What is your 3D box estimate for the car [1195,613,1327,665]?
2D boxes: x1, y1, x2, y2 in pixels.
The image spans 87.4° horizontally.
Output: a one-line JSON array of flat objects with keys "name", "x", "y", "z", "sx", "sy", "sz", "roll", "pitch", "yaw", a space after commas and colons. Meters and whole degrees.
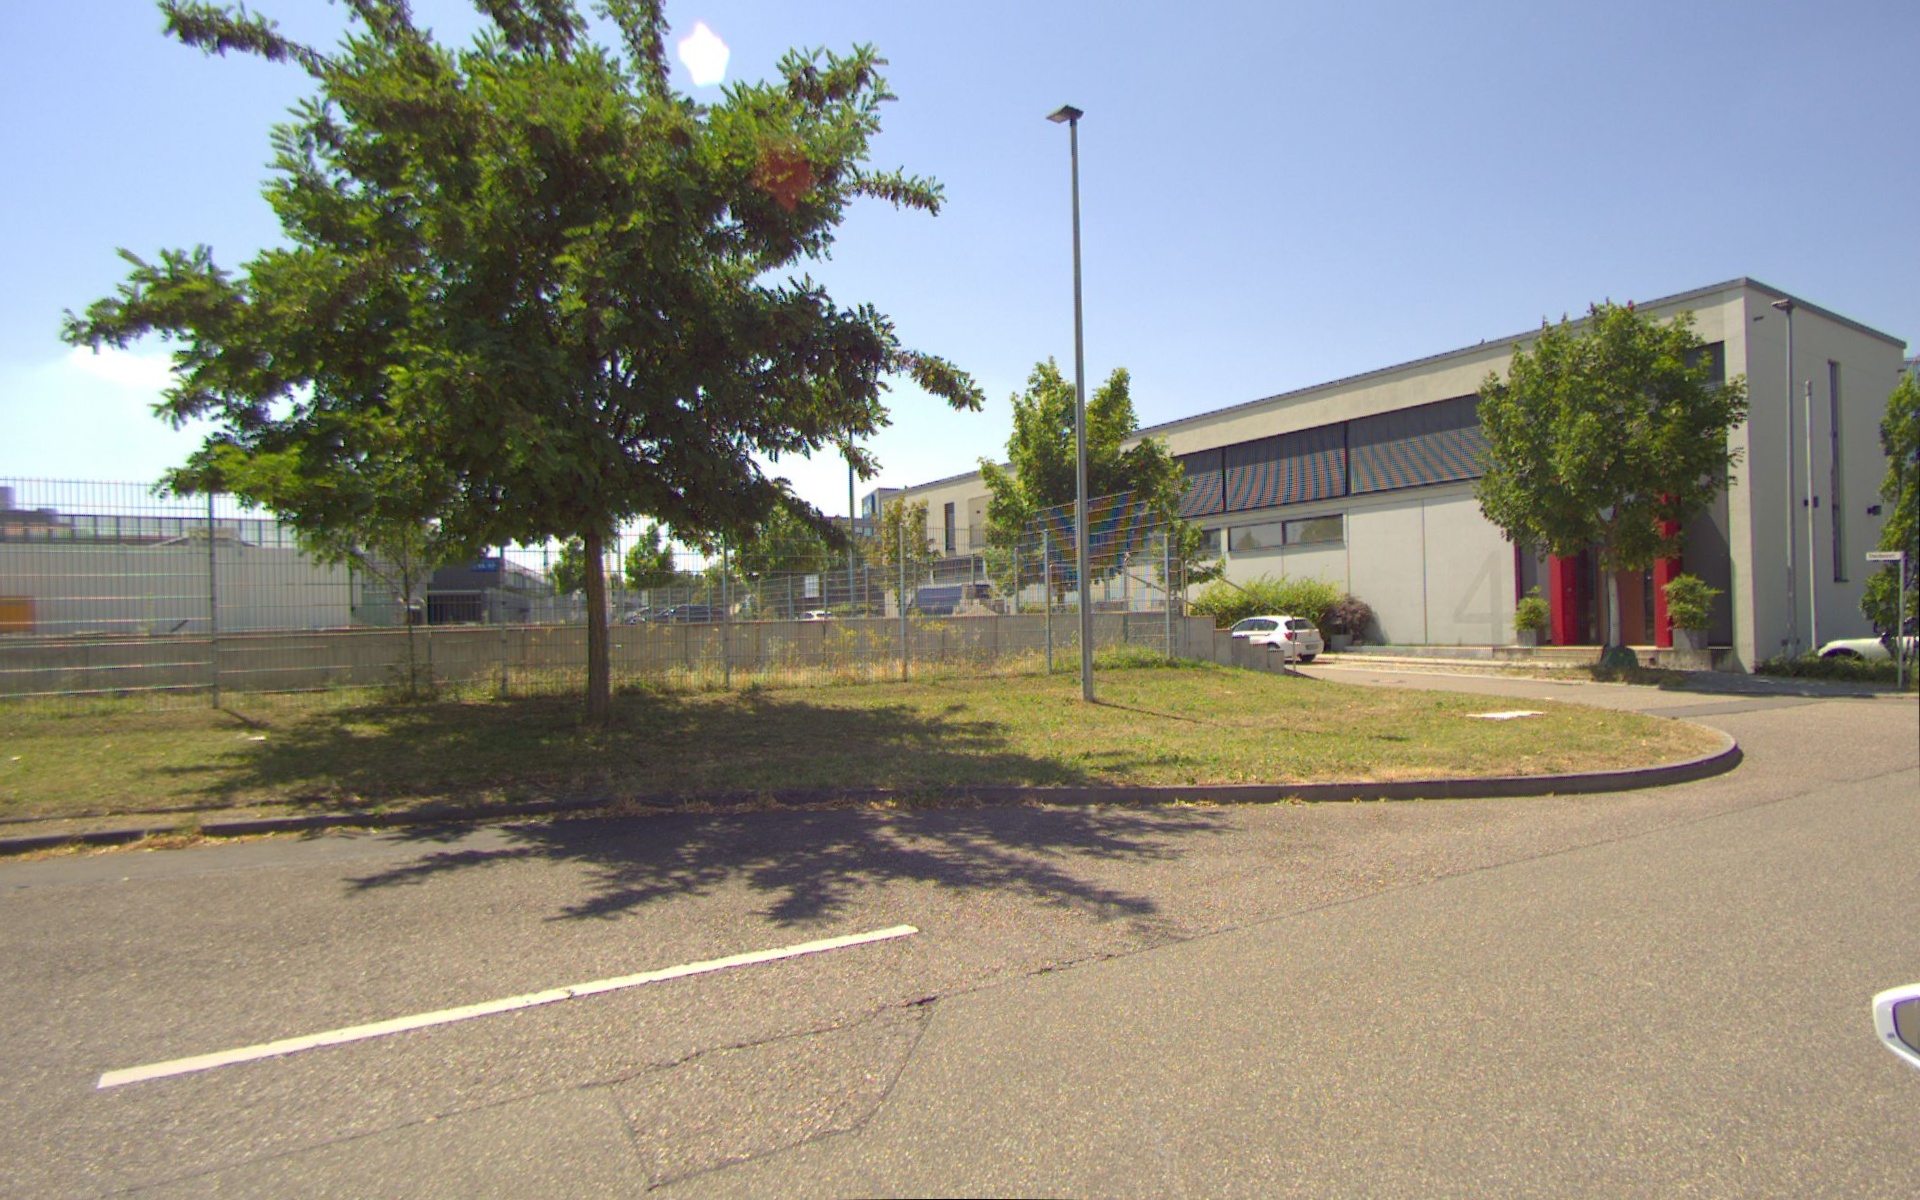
[{"name": "car", "x": 9.524, "y": 1.195, "z": 32.047, "sx": 1.638, "sy": 1.427, "sz": 3.980, "roll": -3, "pitch": 1, "yaw": -31}]

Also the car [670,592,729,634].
[{"name": "car", "x": -13.378, "y": 0.656, "z": 51.375, "sx": 1.951, "sy": 2.040, "sz": 3.968, "roll": 1, "pitch": -1, "yaw": -30}]

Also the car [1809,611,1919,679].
[{"name": "car", "x": 22.291, "y": 1.044, "z": 23.042, "sx": 1.711, "sy": 1.514, "sz": 4.020, "roll": 1, "pitch": -1, "yaw": -35}]

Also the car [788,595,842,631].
[{"name": "car", "x": -8.937, "y": 0.778, "z": 61.776, "sx": 1.948, "sy": 2.041, "sz": 3.968, "roll": -3, "pitch": 1, "yaw": -30}]

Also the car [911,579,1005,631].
[{"name": "car", "x": -0.184, "y": 0.224, "z": 48.319, "sx": 2.108, "sy": 2.303, "sz": 5.216, "roll": -3, "pitch": 1, "yaw": -31}]

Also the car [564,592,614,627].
[{"name": "car", "x": -22.431, "y": 0.552, "z": 60.698, "sx": 2.257, "sy": 2.040, "sz": 3.969, "roll": 0, "pitch": 0, "yaw": -29}]
